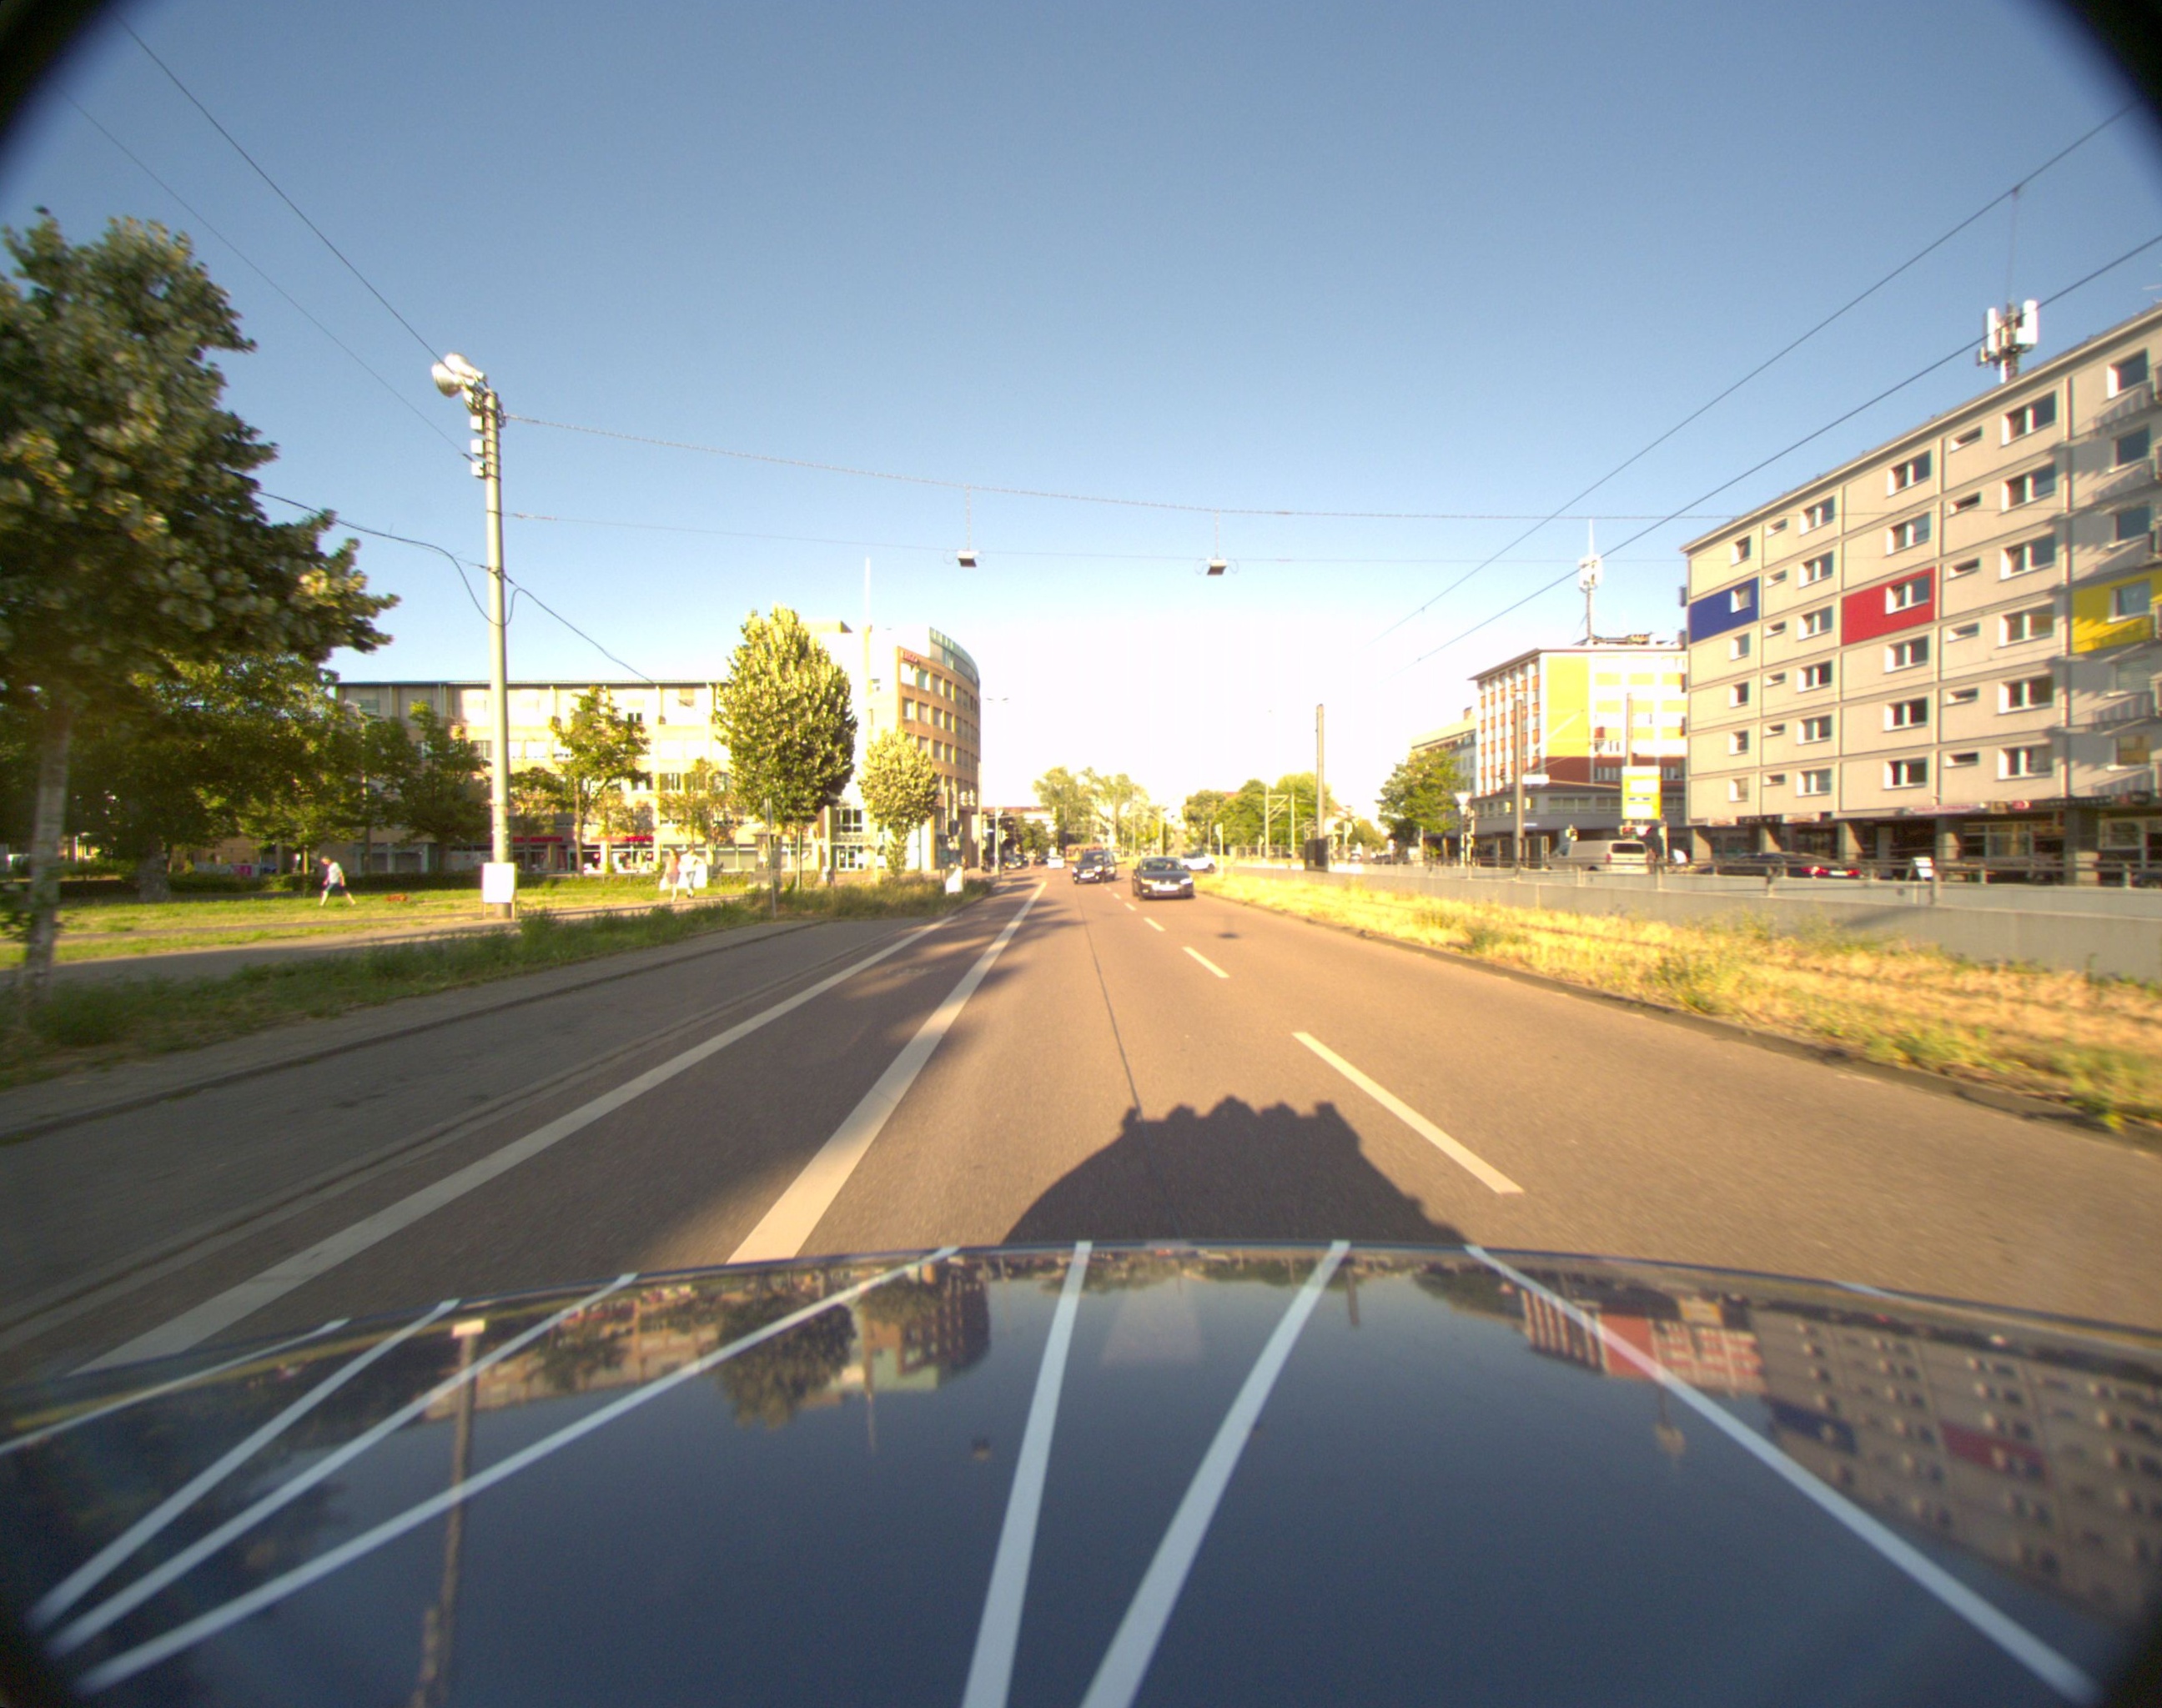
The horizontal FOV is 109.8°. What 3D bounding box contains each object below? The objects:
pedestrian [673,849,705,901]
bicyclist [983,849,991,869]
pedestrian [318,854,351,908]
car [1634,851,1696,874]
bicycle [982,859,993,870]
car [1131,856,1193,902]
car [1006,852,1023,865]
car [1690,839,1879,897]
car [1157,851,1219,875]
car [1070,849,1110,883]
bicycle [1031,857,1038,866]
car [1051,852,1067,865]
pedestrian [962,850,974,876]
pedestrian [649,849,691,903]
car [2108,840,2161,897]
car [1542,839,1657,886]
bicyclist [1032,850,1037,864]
[{"bbox_3d":[-13.095,0.693,25.407,0.599,1.679,0.782,1,0,3],"label":"pedestrian"},{"bbox_3d":[-9.341,0.473,75.588,0.578,1.927,0.697,-2,1,2],"label":"bicyclist"},{"bbox_3d":[-24.530,0.870,24.961,0.644,1.729,0.595,-1,1,-34],"label":"pedestrian"},{"bbox_3d":[50.324,0.732,65.564,3.997,1.770,1.742,-3,1,0],"label":"car"},{"bbox_3d":[-9.311,1.019,75.652,0.700,1.044,1.979,-2,0,4],"label":"bicycle"},{"bbox_3d":[2.695,0.804,26.186,1.769,1.418,4.245,-2,0,2],"label":"car"},{"bbox_3d":[-7.960,0.501,90.971,1.770,1.464,4.013,-2,1,-1],"label":"car"},{"bbox_3d":[23.718,0.420,25.942,1.998,1.787,4.895,-1,0,1],"label":"car"},{"bbox_3d":[7.600,0.605,53.670,4.286,1.528,1.830,-2,1,-38],"label":"car"},{"bbox_3d":[0.535,0.623,40.868,1.769,1.722,4.149,-1,0,5],"label":"car"},{"bbox_3d":[-5.344,0.850,87.290,0.608,0.923,1.777,0,0,2],"label":"bicycle"},{"bbox_3d":[-2.588,0.527,90.100,1.770,1.464,4.013,-2,1,-1],"label":"car"},{"bbox_3d":[-7.499,0.598,50.506,0.651,1.714,0.715,-1,1,2],"label":"pedestrian"},{"bbox_3d":[-12.929,0.677,23.950,0.740,1.640,0.916,2,0,3],"label":"pedestrian"},{"bbox_3d":[34.737,0.448,22.599,1.998,1.787,4.742,-1,0,1],"label":"car"},{"bbox_3d":[23.702,0.331,34.989,1.999,2.002,4.774,-1,1,-1],"label":"car"},{"bbox_3d":[-5.354,0.388,87.330,0.552,1.600,0.832,-1,1,2],"label":"bicyclist"}]
